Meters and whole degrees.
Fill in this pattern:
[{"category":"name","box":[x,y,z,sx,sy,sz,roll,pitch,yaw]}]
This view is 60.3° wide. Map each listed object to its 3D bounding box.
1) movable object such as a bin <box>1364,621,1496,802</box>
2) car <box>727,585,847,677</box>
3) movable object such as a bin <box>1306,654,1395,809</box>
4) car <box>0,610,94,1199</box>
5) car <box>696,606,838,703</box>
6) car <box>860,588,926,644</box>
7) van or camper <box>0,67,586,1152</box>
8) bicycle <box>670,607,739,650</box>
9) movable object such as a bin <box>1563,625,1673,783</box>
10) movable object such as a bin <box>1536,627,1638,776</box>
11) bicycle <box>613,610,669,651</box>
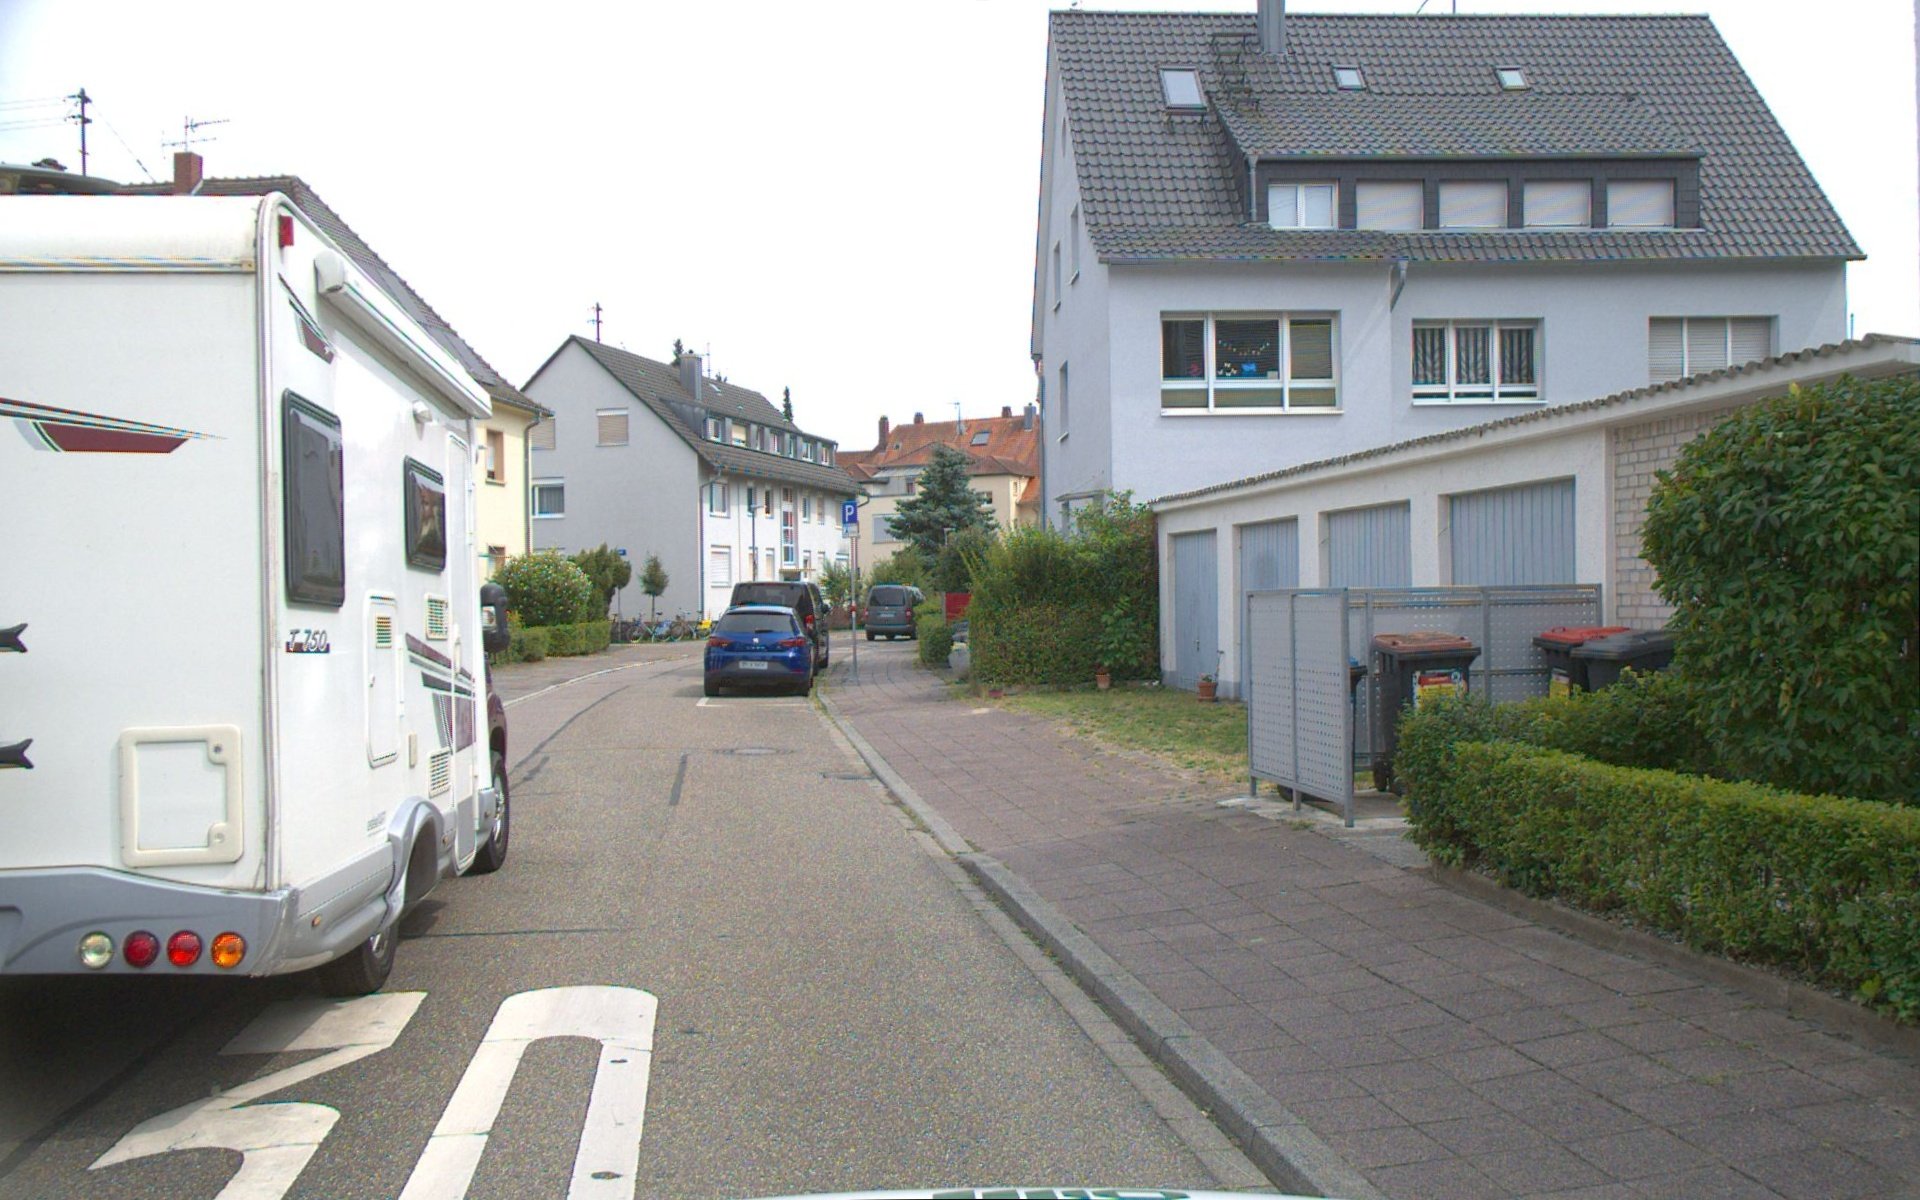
[{"category":"movable object such as a bin","box":[3.143,0.733,11.110,0.569,1.157,0.753,-1,-2,-8]},{"category":"car","box":[-3.605,0.689,35.139,1.815,1.773,4.347,-2,-2,3]},{"category":"movable object such as a bin","box":[2.584,0.857,10.978,0.382,0.990,0.514,-1,-2,-8]},{"category":"car","box":[-2.682,0.713,1.912,1.626,1.447,3.763,-1,-2,-5]},{"category":"car","box":[-3.180,0.923,27.945,1.686,1.477,4.001,-2,-2,3]},{"category":"car","box":[-2.263,0.597,56.866,1.815,1.773,4.347,-2,-2,3]},{"category":"van or camper","box":[-3.260,0.126,7.230,2.357,2.773,6.154,-1,-2,-6]},{"category":"bicycle","box":[-9.170,1.014,59.356,2.321,1.486,0.712,0,-2,-31]},{"category":"movable object such as a bin","box":[4.296,0.671,10.816,0.445,0.990,0.506,-1,-2,-8]},{"category":"movable object such as a bin","box":[4.313,0.693,11.400,0.445,0.990,0.506,-1,-2,-8]},{"category":"bicycle","box":[-11.220,1.081,58.177,1.807,1.397,0.667,-1,-2,-21]}]
